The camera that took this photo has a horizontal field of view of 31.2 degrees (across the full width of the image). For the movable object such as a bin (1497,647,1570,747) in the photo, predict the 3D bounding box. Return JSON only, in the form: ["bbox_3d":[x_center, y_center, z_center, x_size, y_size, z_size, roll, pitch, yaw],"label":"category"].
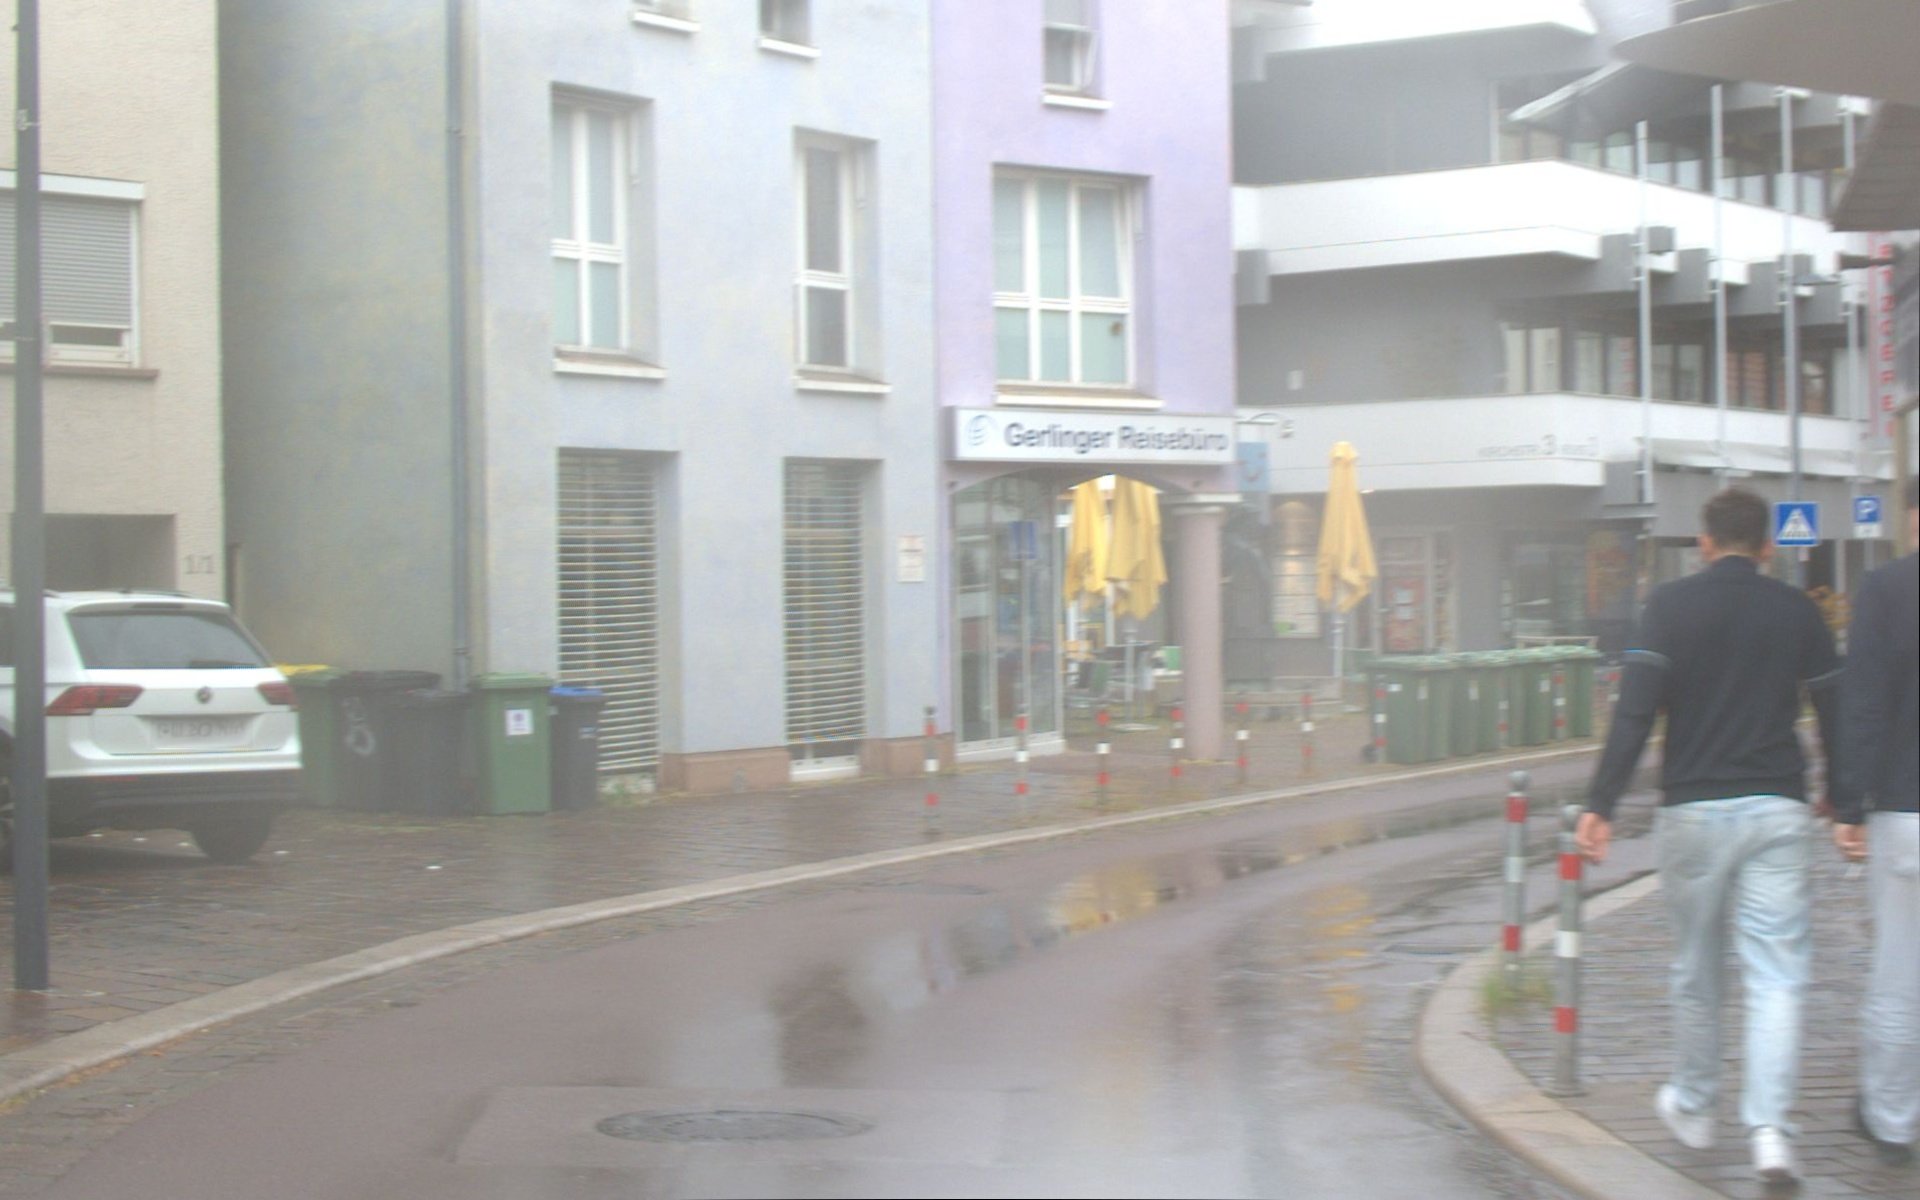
[{"bbox_3d":[6.531,1.101,39.151,0.634,1.124,0.576,-1,-1,31],"label":"movable object such as a bin"}]

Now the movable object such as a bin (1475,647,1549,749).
[{"bbox_3d":[6.190,1.094,38.537,0.634,1.124,0.576,-1,-1,31],"label":"movable object such as a bin"}]

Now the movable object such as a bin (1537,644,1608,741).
[{"bbox_3d":[7.173,1.086,40.261,0.634,1.124,0.576,-1,-1,31],"label":"movable object such as a bin"}]

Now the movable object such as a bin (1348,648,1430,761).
[{"bbox_3d":[4.345,1.052,34.791,0.634,1.124,0.576,-1,-1,31],"label":"movable object such as a bin"}]

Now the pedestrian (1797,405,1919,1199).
[{"bbox_3d":[2.583,0.523,8.890,0.651,2.007,0.761,-1,-1,3],"label":"pedestrian"}]

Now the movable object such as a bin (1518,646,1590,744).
[{"bbox_3d":[6.860,1.094,39.695,0.634,1.124,0.576,-1,-1,31],"label":"movable object such as a bin"}]

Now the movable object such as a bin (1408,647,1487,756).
[{"bbox_3d":[5.117,1.065,36.083,0.634,1.124,0.576,-1,-1,31],"label":"movable object such as a bin"}]

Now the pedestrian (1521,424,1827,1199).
[{"bbox_3d":[1.871,0.567,9.101,0.651,2.007,0.761,-1,-1,3],"label":"pedestrian"}]

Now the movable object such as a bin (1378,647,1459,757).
[{"bbox_3d":[4.726,1.046,35.422,0.634,1.124,0.576,-1,-1,31],"label":"movable object such as a bin"}]

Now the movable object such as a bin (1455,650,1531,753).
[{"bbox_3d":[5.860,1.115,37.794,0.634,1.124,0.576,-1,-1,31],"label":"movable object such as a bin"}]

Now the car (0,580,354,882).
[{"bbox_3d":[-5.757,0.728,21.167,3.997,1.671,1.995,0,0,43],"label":"car"}]

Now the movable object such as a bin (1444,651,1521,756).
[{"bbox_3d":[5.639,1.114,37.080,0.634,1.124,0.576,-1,-1,31],"label":"movable object such as a bin"}]

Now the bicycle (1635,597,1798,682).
[{"bbox_3d":[12.047,0.635,54.742,2.306,1.310,1.008,-1,-1,36],"label":"bicycle"}]

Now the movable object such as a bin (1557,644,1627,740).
[{"bbox_3d":[7.504,1.094,40.804,0.634,1.124,0.576,-1,-1,31],"label":"movable object such as a bin"}]
